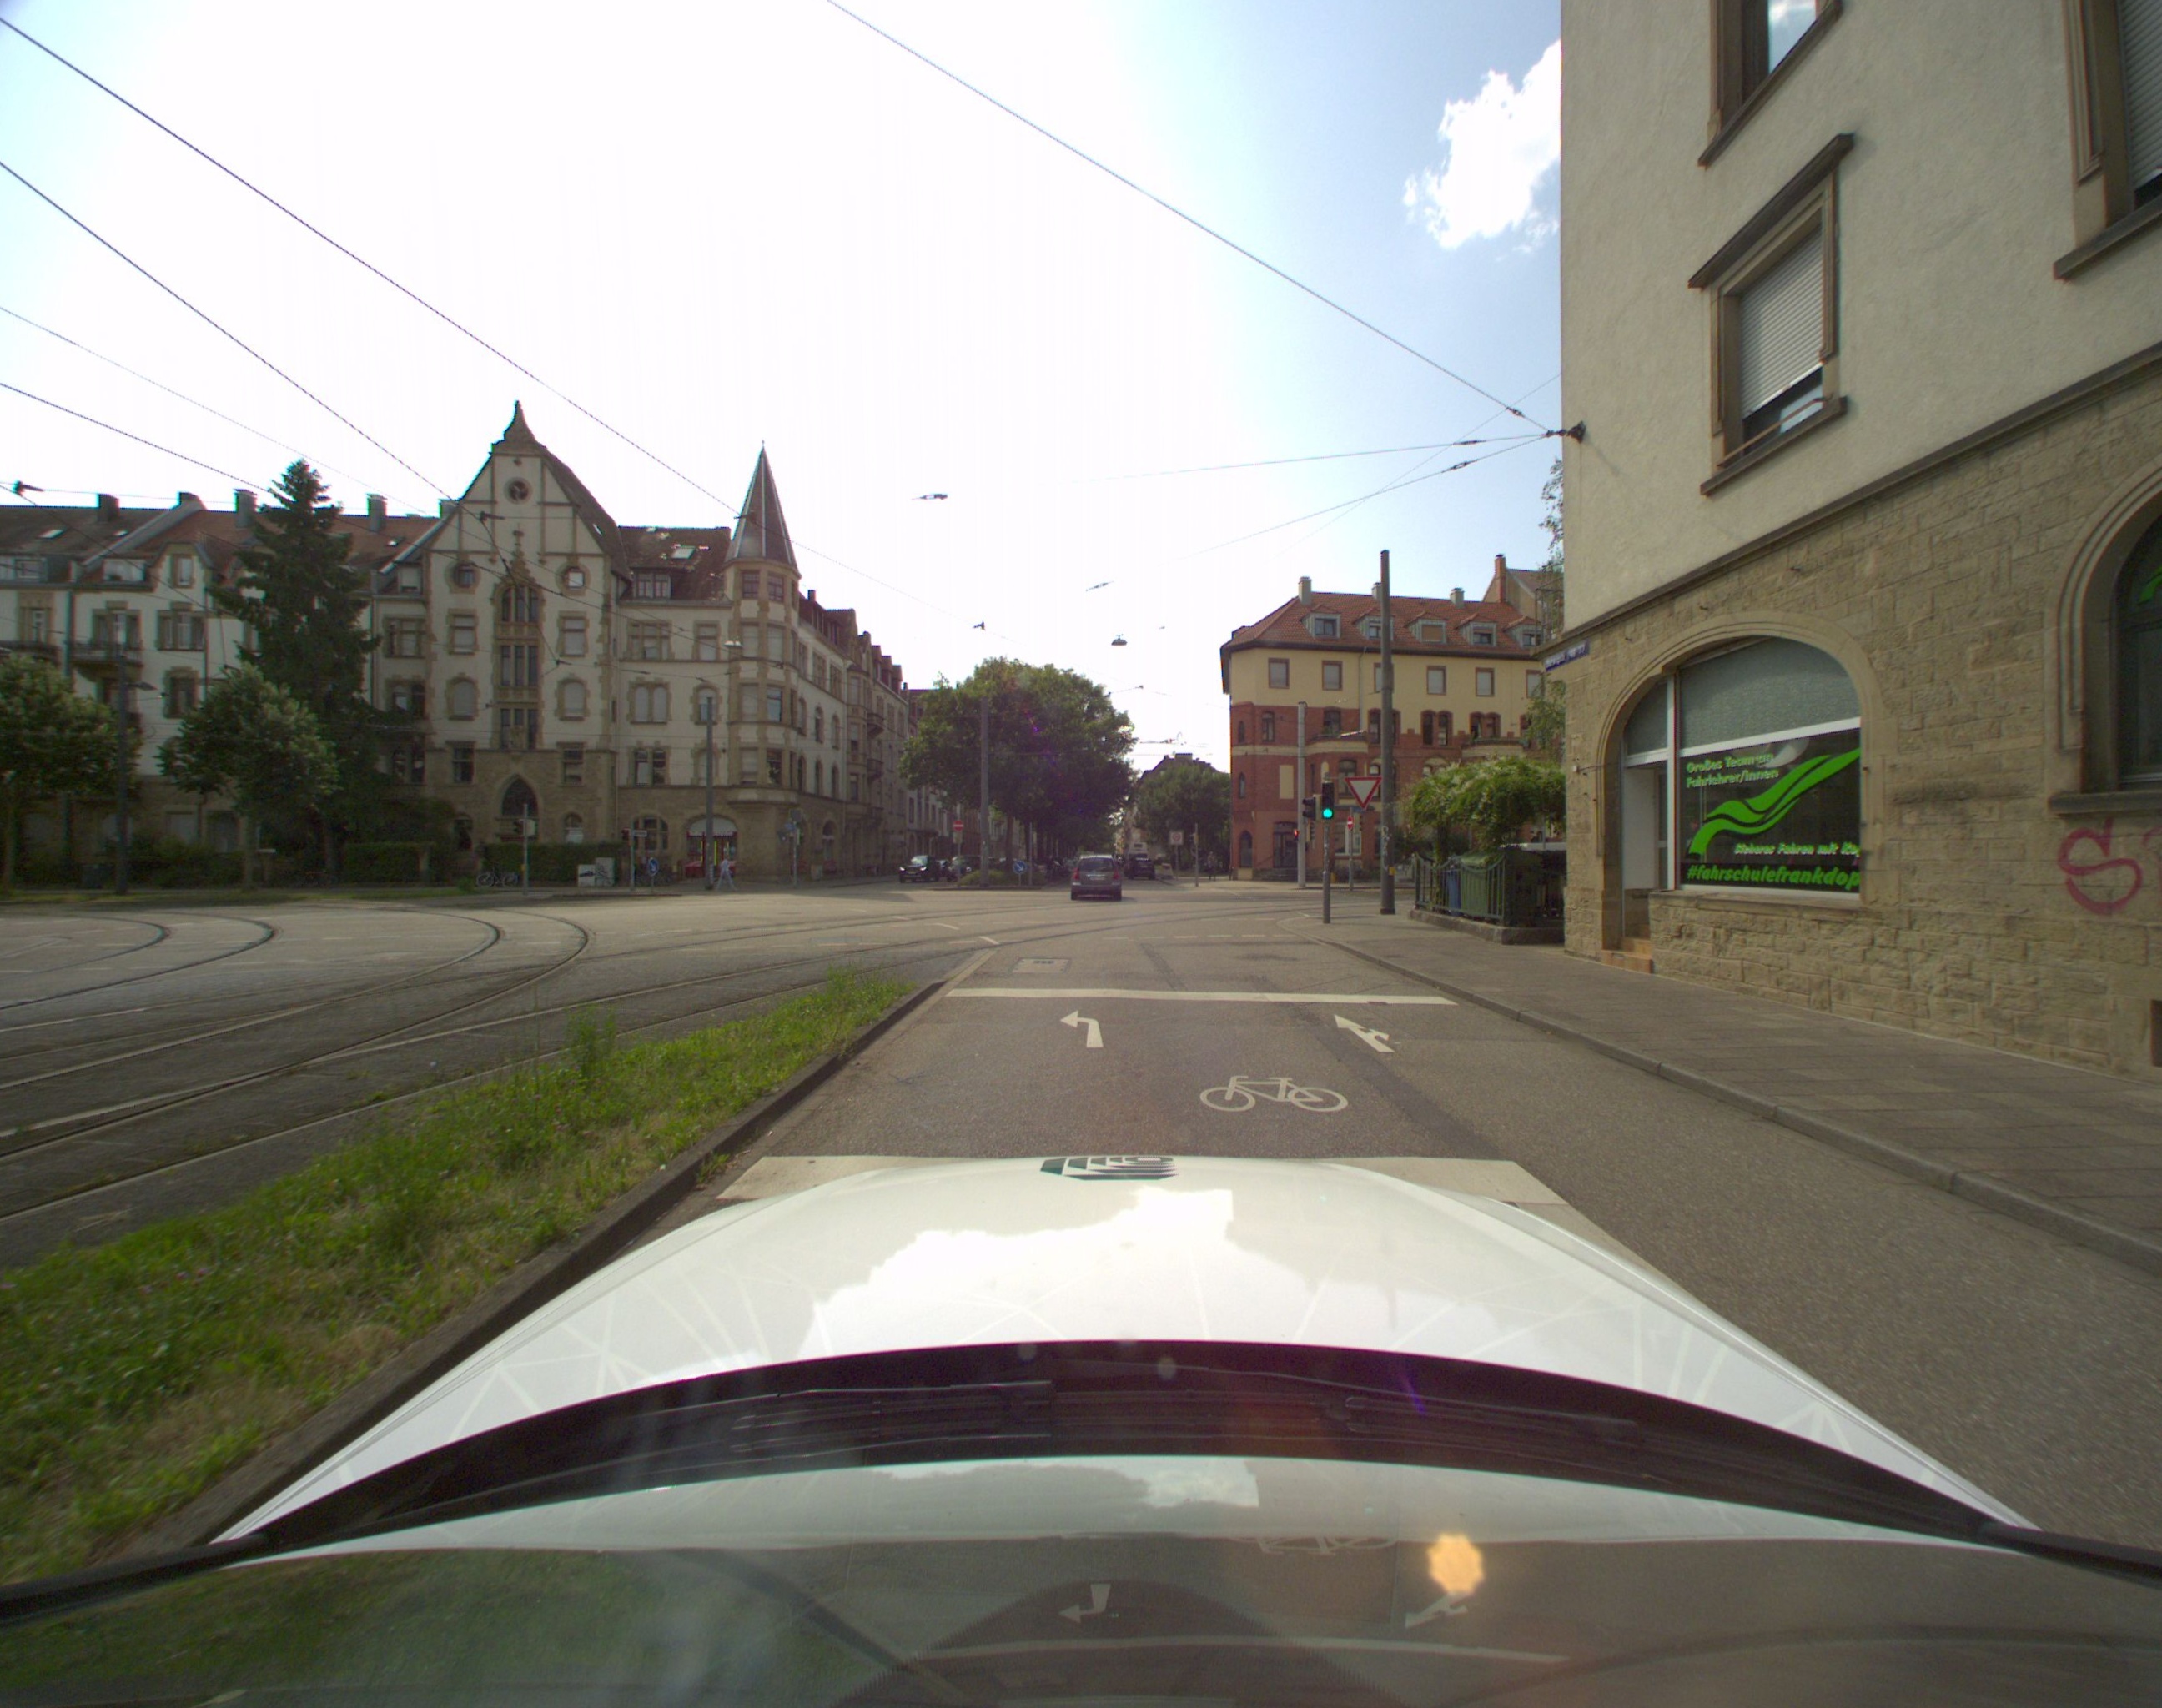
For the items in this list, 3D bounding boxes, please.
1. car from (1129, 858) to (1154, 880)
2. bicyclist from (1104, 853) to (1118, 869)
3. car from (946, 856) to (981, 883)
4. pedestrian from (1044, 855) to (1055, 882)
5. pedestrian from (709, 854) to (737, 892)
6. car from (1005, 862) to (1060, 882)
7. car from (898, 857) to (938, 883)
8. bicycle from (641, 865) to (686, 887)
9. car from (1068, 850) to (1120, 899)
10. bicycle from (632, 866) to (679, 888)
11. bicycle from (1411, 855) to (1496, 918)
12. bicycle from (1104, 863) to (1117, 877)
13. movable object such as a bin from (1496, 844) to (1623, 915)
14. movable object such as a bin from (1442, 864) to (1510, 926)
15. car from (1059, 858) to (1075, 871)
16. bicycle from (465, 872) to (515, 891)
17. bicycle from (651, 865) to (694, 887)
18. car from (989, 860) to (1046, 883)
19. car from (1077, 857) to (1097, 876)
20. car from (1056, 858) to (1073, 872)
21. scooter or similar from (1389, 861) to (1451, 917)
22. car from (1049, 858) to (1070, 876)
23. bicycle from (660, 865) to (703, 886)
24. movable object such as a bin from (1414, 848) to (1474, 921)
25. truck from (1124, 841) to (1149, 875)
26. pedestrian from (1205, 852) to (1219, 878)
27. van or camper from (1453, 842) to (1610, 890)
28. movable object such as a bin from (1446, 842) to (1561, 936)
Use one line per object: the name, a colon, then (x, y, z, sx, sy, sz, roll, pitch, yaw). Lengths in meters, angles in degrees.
car: (4.597, 1.125, 61.602, 1.743, 1.633, 3.505, 0, 0, 6)
bicyclist: (2.064, 0.488, 55.780, 0.832, 1.082, 1.402, -1, -1, 6)
car: (-7.932, 1.058, 55.365, 1.989, 1.728, 3.995, -1, -1, -3)
pedestrian: (-2.055, 0.940, 53.089, 0.648, 1.725, 0.495, 0, -1, 5)
pedestrian: (-16.798, 0.876, 38.199, 1.029, 1.722, 0.767, 0, -1, -42)
car: (-3.392, 1.206, 56.528, 1.984, 1.339, 3.955, 0, 0, -37)
car: (-10.722, 1.044, 53.747, 1.989, 1.618, 3.995, -1, -1, -3)
bicycle: (-21.583, 1.152, 42.135, 1.915, 1.081, 0.776, -1, -1, -9)
car: (0.529, 0.704, 29.172, 1.715, 1.605, 3.679, -1, -1, 3)
bicycle: (-21.332, 1.138, 40.882, 1.915, 1.081, 0.776, -1, -1, -9)
bicycle: (8.152, 0.706, 17.817, 1.827, 1.329, 0.276, -1, -1, -9)
bicycle: (2.044, 1.073, 55.641, 0.745, 0.958, 2.302, -1, -1, 6)
movable object such as a bin: (10.104, 0.519, 17.243, 2.090, 1.413, 1.051, -1, -1, -5)
movable object such as a bin: (7.736, 0.796, 15.978, 1.023, 1.174, 0.660, -1, -1, 3)
car: (-1.640, 1.251, 98.814, 1.745, 1.517, 3.501, 0, 0, 2)
bicycle: (-28.324, 1.308, 39.053, 1.915, 0.848, 0.469, -1, -1, -9)
bicycle: (-21.697, 1.163, 43.276, 1.915, 1.081, 0.776, -1, -1, -9)
car: (-4.254, 1.123, 53.931, 1.984, 1.495, 3.955, 0, 0, -37)
car: (0.594, 1.116, 75.432, 1.715, 1.706, 3.679, -1, -1, 3)
car: (-1.820, 1.198, 91.924, 1.745, 1.517, 3.501, 0, 0, 2)
scooter or similar: (7.562, 0.777, 18.181, 1.192, 1.217, 0.462, -1, -1, -5)
car: (-2.042, 1.215, 78.340, 1.745, 1.633, 3.501, 0, 0, 2)
bicycle: (-21.823, 1.176, 44.522, 1.915, 1.081, 0.776, -1, -1, -9)
movable object such as a bin: (7.520, 0.615, 16.896, 0.714, 1.472, 0.980, -1, -1, -7)
truck: (5.140, 0.344, 74.564, 2.112, 2.970, 4.006, -1, -1, 6)
pedestrian: (8.265, 0.688, 51.407, 0.864, 1.657, 0.737, 0, -1, 6)
van or camper: (21.500, 0.555, 39.012, 6.514, 2.254, 2.243, 0, -1, -6)
movable object such as a bin: (7.439, 0.593, 14.498, 1.045, 1.539, 2.102, -1, -1, 4)
